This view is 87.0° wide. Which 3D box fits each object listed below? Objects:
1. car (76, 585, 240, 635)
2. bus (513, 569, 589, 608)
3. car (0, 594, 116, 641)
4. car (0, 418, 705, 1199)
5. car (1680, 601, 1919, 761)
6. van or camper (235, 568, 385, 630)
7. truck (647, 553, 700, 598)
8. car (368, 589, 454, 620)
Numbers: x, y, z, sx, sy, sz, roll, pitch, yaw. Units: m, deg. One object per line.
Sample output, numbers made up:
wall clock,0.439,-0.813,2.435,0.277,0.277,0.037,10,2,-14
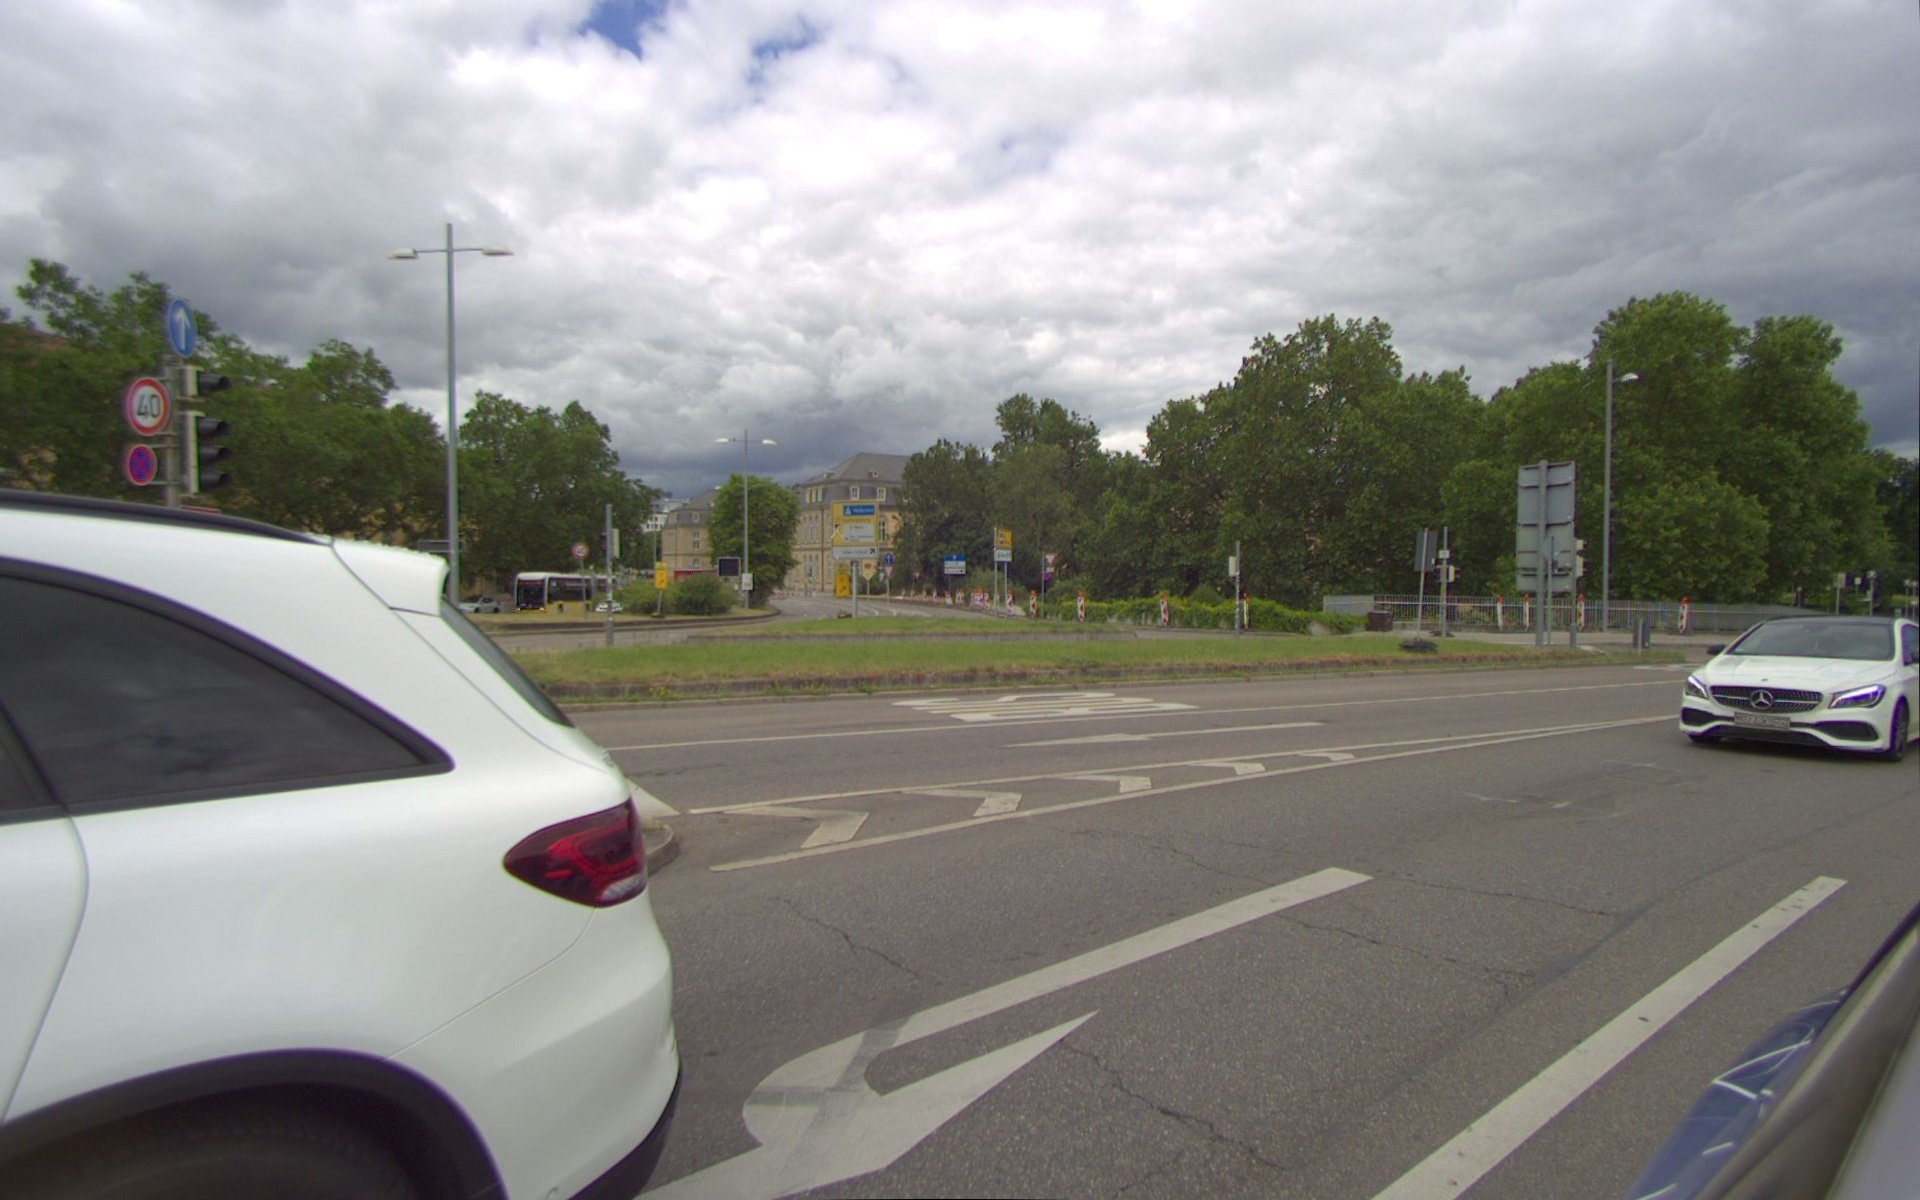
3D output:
car,-24.650,0.256,31.310,1.628,1.438,4.245,0,1,2
bus,-32.064,-0.909,79.836,2.520,2.887,9.675,1,0,-3
car,-30.705,0.539,33.764,1.628,1.431,4.088,0,1,2
car,-2.676,0.589,1.091,4.302,1.668,1.822,1,0,-41
car,9.898,0.740,11.264,4.421,1.441,1.724,0,0,-35
van or camper,-21.736,-0.073,34.148,1.628,1.915,5.151,0,1,2
truck,-22.878,-1.936,81.244,2.756,3.412,7.643,1,0,-5
car,-27.018,0.211,49.993,1.628,1.438,4.551,0,1,2
